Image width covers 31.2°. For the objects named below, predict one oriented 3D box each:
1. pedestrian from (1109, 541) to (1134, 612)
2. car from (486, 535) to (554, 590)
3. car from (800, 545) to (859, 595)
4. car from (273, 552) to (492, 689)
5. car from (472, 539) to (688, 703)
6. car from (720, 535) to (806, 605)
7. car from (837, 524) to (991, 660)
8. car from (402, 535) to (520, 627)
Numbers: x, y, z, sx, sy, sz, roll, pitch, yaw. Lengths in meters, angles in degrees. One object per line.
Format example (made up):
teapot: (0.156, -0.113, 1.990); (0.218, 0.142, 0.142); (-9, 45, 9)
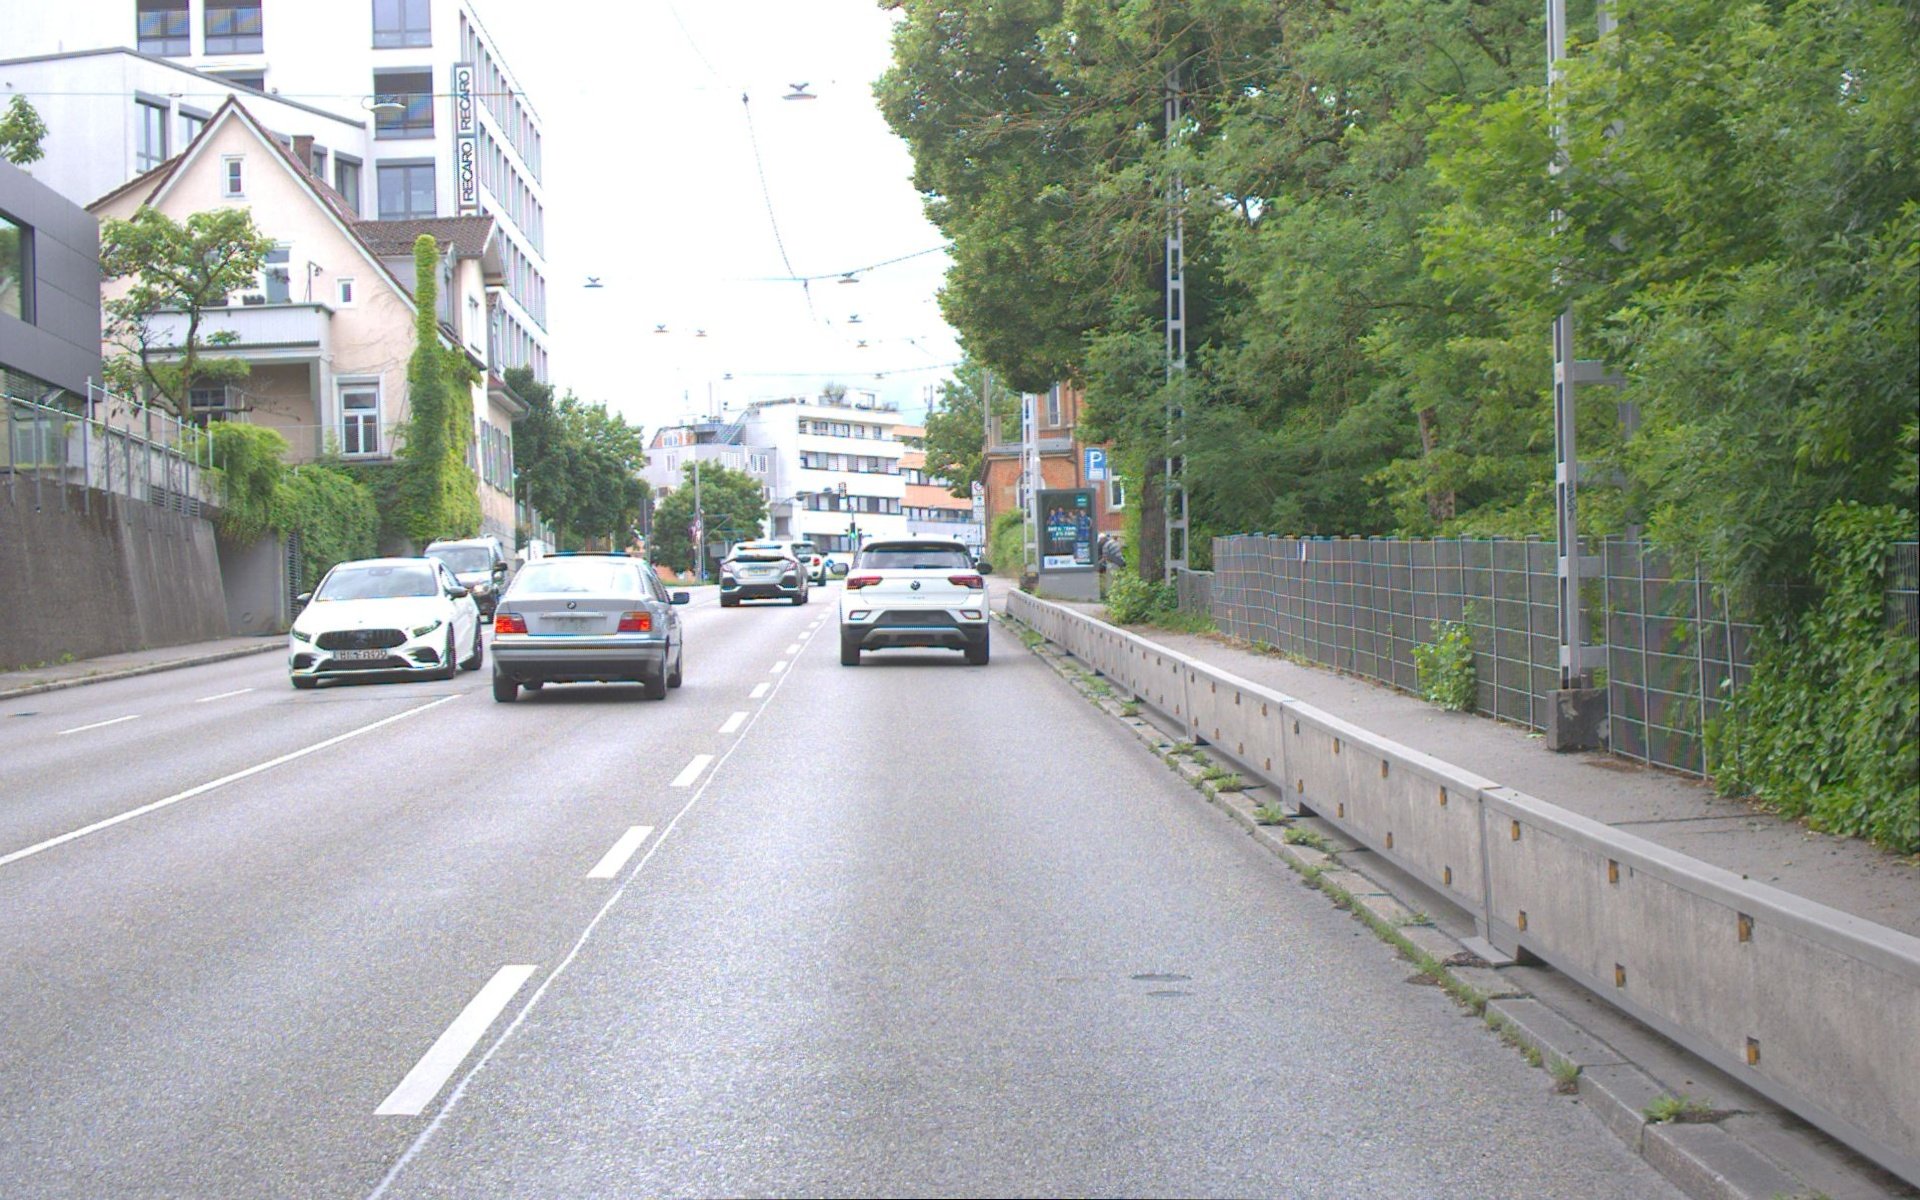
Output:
pedestrian: (3.967, -0.583, 84.418); (0.509, 1.711, 0.465); (-2, 1, -2)
car: (-14.350, -1.233, 112.365); (1.993, 1.695, 4.001); (-2, 1, -5)
car: (-4.042, -0.945, 106.995); (1.706, 1.459, 4.000); (-1, 1, -1)
car: (-6.676, 0.199, 40.169); (1.815, 1.382, 4.463); (-3, 1, -1)
car: (-3.645, 0.159, 33.549); (1.706, 1.459, 4.000); (-1, 1, -1)
car: (-4.328, -0.690, 76.025); (1.706, 1.459, 4.000); (-1, 1, -1)
car: (-0.603, -0.125, 41.843); (1.780, 1.573, 4.000); (0, 1, -2)
car: (-10.330, -0.422, 71.464); (1.816, 1.778, 4.495); (-2, 1, -1)
